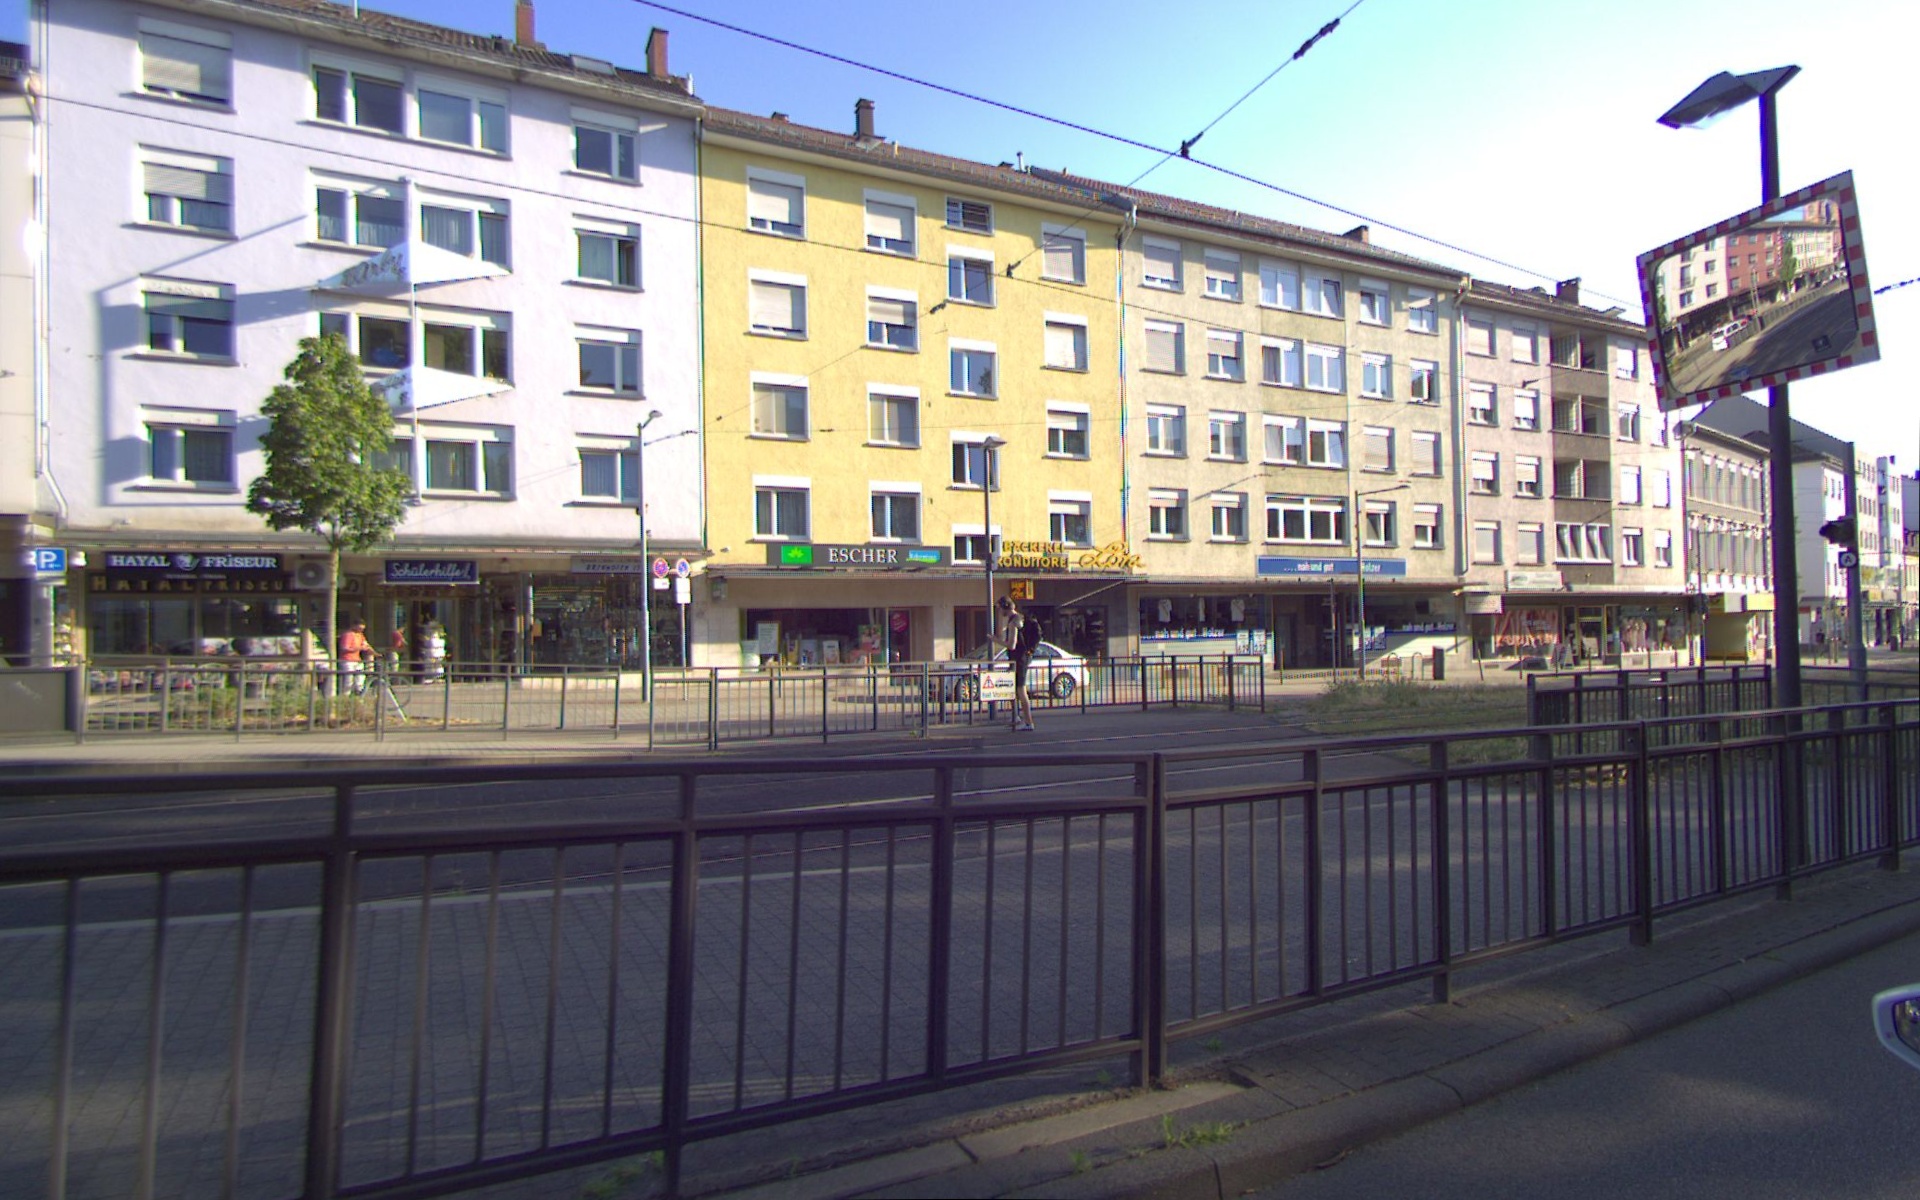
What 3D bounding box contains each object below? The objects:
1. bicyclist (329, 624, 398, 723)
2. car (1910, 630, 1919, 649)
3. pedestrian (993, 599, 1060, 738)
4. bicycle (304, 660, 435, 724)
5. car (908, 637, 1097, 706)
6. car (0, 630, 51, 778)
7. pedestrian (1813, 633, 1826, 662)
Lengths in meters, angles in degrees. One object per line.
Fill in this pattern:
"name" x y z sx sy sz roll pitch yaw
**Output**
"bicyclist" -11.892 1.455 20.059 1.041 1.911 0.692 -1 -2 -19
"car" 76.320 3.027 77.129 4.463 1.431 2.000 -1 -2 20
"pedestrian" 0.923 0.934 14.029 0.583 1.873 0.737 0 -2 -32
"bicycle" -11.759 1.817 20.083 2.164 1.174 0.705 0 -2 -19
"car" 1.080 1.734 25.239 4.354 1.498 1.986 1 0 -28
"car" -13.598 1.241 11.480 4.381 1.739 1.985 0 -2 -29
"pedestrian" 52.893 2.925 61.825 0.502 1.736 0.424 1 -2 -30
